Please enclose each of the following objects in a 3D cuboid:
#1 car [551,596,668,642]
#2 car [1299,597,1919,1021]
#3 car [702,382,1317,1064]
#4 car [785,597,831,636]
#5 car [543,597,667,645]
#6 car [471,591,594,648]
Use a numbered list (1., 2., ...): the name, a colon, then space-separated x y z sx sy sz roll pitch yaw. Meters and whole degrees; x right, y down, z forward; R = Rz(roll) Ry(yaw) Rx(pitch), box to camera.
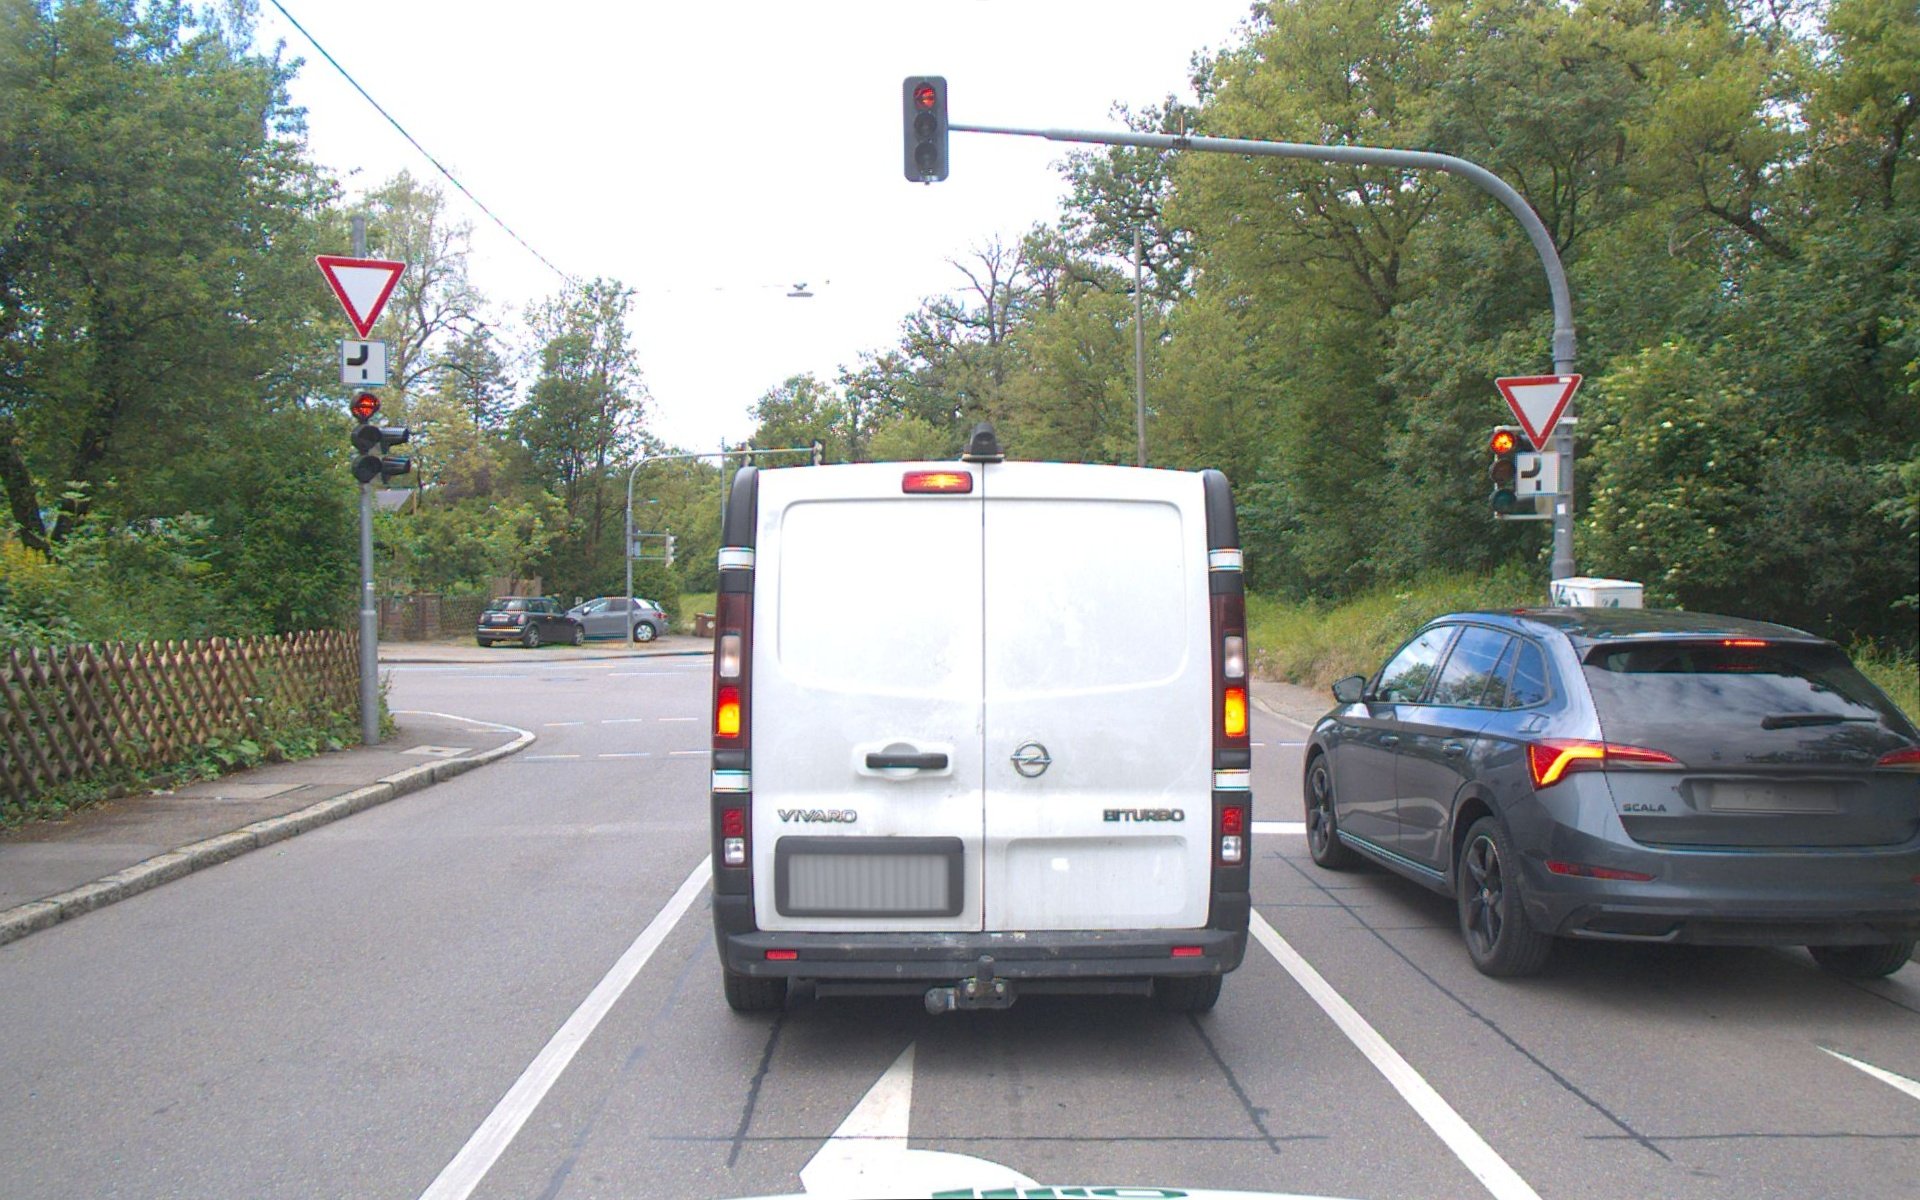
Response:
1. car: -12.733 0.660 60.003 4.023 1.580 1.845 0 1 -18
2. car: 2.954 0.729 7.837 1.756 1.476 3.998 0 0 -2
3. car: 0.051 0.383 7.469 1.878 2.089 4.611 1 0 -3
4. car: -6.209 0.663 67.738 1.821 1.533 3.996 0 0 -5
5. car: -12.204 0.692 56.832 4.023 1.580 1.845 0 1 -18
6. car: -11.990 0.544 46.585 1.662 1.474 3.544 2 0 19
